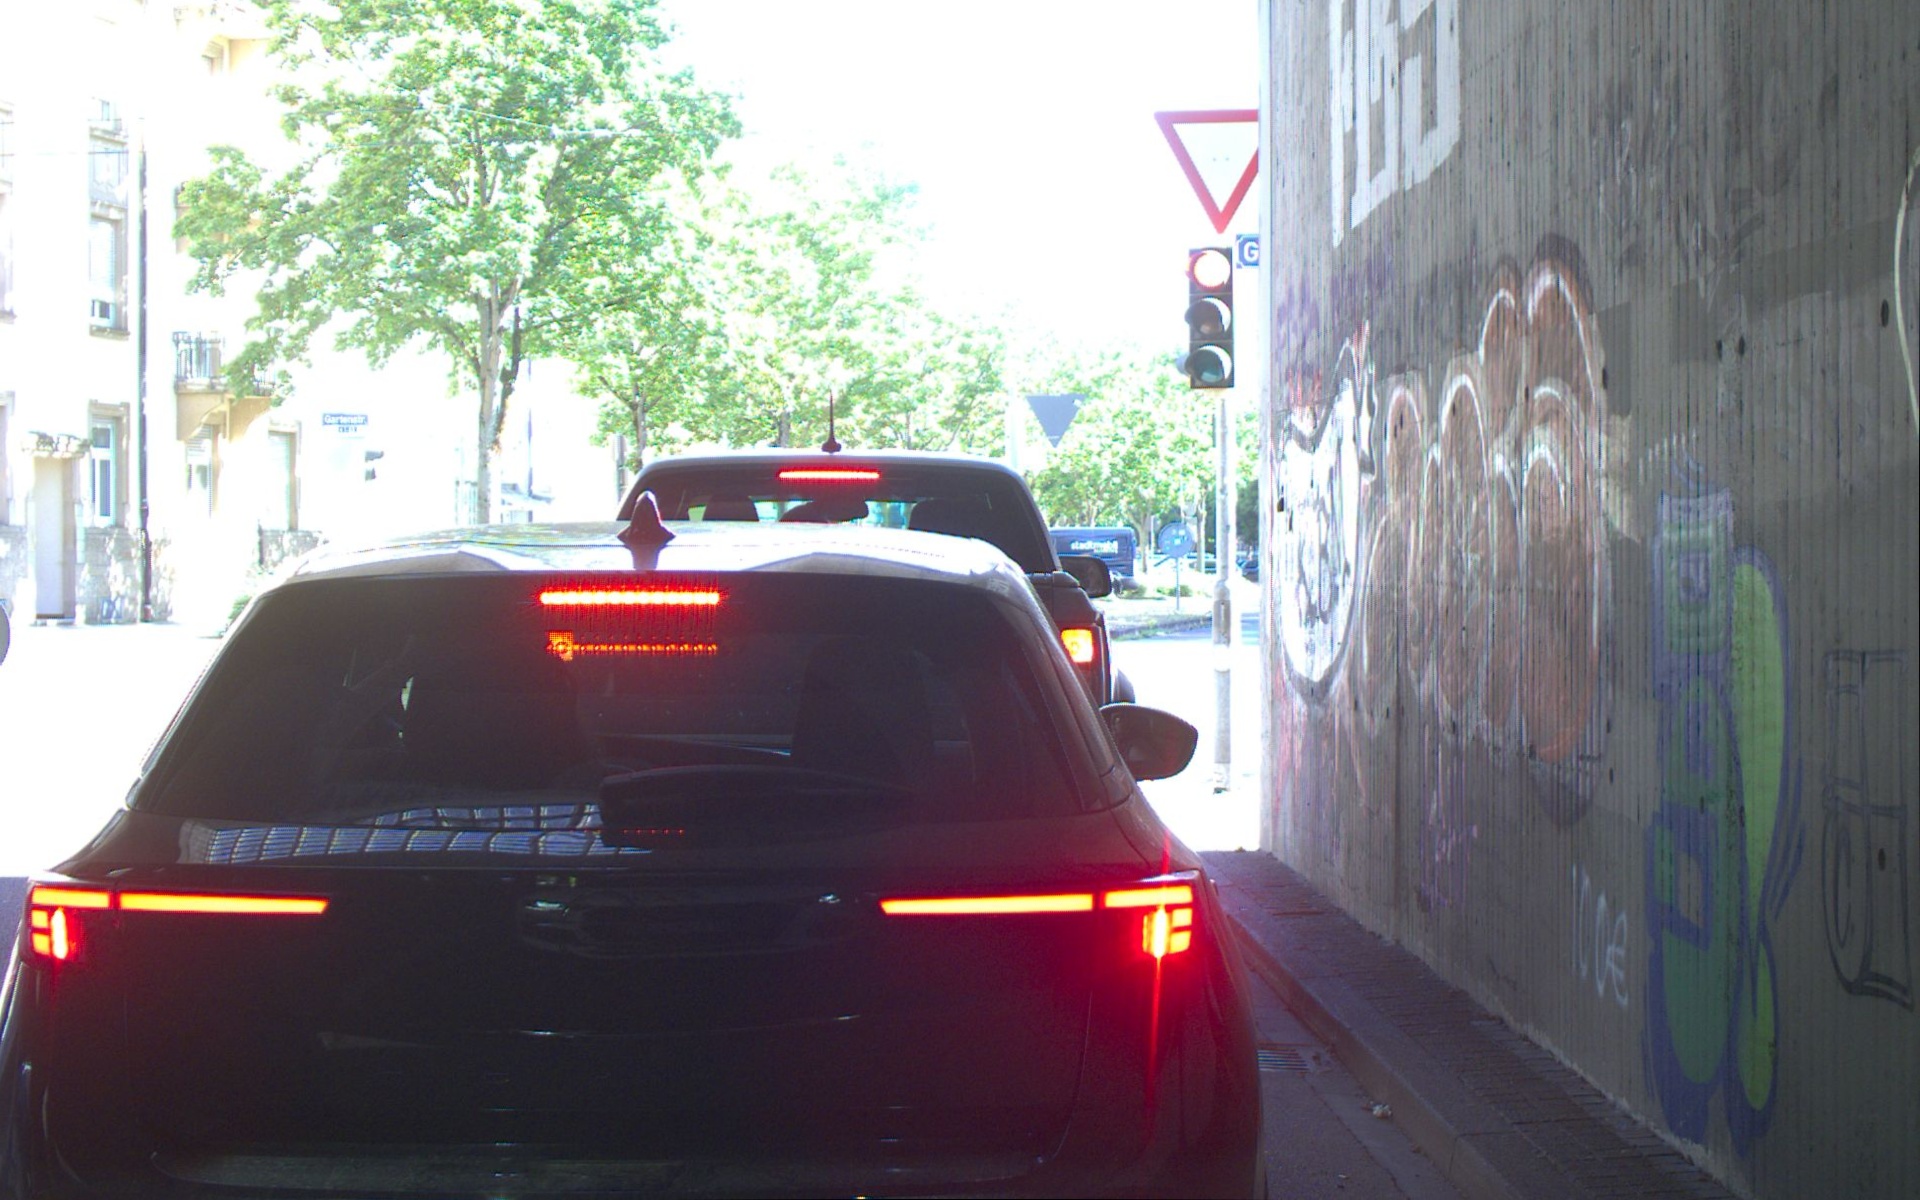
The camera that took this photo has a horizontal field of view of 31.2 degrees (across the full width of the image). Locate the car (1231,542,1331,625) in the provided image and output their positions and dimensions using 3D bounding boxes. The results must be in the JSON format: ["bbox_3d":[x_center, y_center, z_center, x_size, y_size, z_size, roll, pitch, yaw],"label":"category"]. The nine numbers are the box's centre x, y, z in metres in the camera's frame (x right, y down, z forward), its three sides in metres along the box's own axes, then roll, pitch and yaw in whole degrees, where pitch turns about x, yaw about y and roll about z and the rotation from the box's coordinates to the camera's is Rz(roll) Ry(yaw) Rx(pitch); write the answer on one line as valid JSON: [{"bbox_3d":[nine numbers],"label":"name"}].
[{"bbox_3d":[6.687,-0.366,71.354,1.994,1.635,4.592,0,1,6],"label":"car"}]

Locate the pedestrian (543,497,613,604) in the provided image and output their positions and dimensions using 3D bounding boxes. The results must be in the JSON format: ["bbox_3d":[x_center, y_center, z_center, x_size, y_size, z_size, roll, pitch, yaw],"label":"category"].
[{"bbox_3d":[-5.743,-0.743,51.701,0.736,1.579,0.889,1,0,15],"label":"pedestrian"}]

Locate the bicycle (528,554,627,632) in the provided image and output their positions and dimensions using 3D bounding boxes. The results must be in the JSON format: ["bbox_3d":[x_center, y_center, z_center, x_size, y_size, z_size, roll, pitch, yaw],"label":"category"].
[{"bbox_3d":[-5.746,-0.118,51.735,0.737,1.126,2.025,0,1,17],"label":"bicycle"}]

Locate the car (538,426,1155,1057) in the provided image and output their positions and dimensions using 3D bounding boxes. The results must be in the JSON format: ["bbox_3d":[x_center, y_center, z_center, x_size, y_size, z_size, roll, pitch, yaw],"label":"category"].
[{"bbox_3d":[-0.349,0.378,12.037,1.786,1.827,3.961,1,1,0],"label":"car"}]

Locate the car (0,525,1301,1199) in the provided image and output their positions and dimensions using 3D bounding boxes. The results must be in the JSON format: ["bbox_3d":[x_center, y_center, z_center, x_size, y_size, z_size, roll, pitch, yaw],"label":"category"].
[{"bbox_3d":[-0.484,0.629,6.173,1.753,1.493,4.000,1,1,0],"label":"car"}]

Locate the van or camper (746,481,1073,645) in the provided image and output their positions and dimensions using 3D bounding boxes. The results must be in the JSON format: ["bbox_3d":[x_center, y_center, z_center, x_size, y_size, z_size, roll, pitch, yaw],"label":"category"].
[{"bbox_3d":[-0.600,-0.468,43.348,3.878,2.007,2.000,0,1,7],"label":"van or camper"}]
